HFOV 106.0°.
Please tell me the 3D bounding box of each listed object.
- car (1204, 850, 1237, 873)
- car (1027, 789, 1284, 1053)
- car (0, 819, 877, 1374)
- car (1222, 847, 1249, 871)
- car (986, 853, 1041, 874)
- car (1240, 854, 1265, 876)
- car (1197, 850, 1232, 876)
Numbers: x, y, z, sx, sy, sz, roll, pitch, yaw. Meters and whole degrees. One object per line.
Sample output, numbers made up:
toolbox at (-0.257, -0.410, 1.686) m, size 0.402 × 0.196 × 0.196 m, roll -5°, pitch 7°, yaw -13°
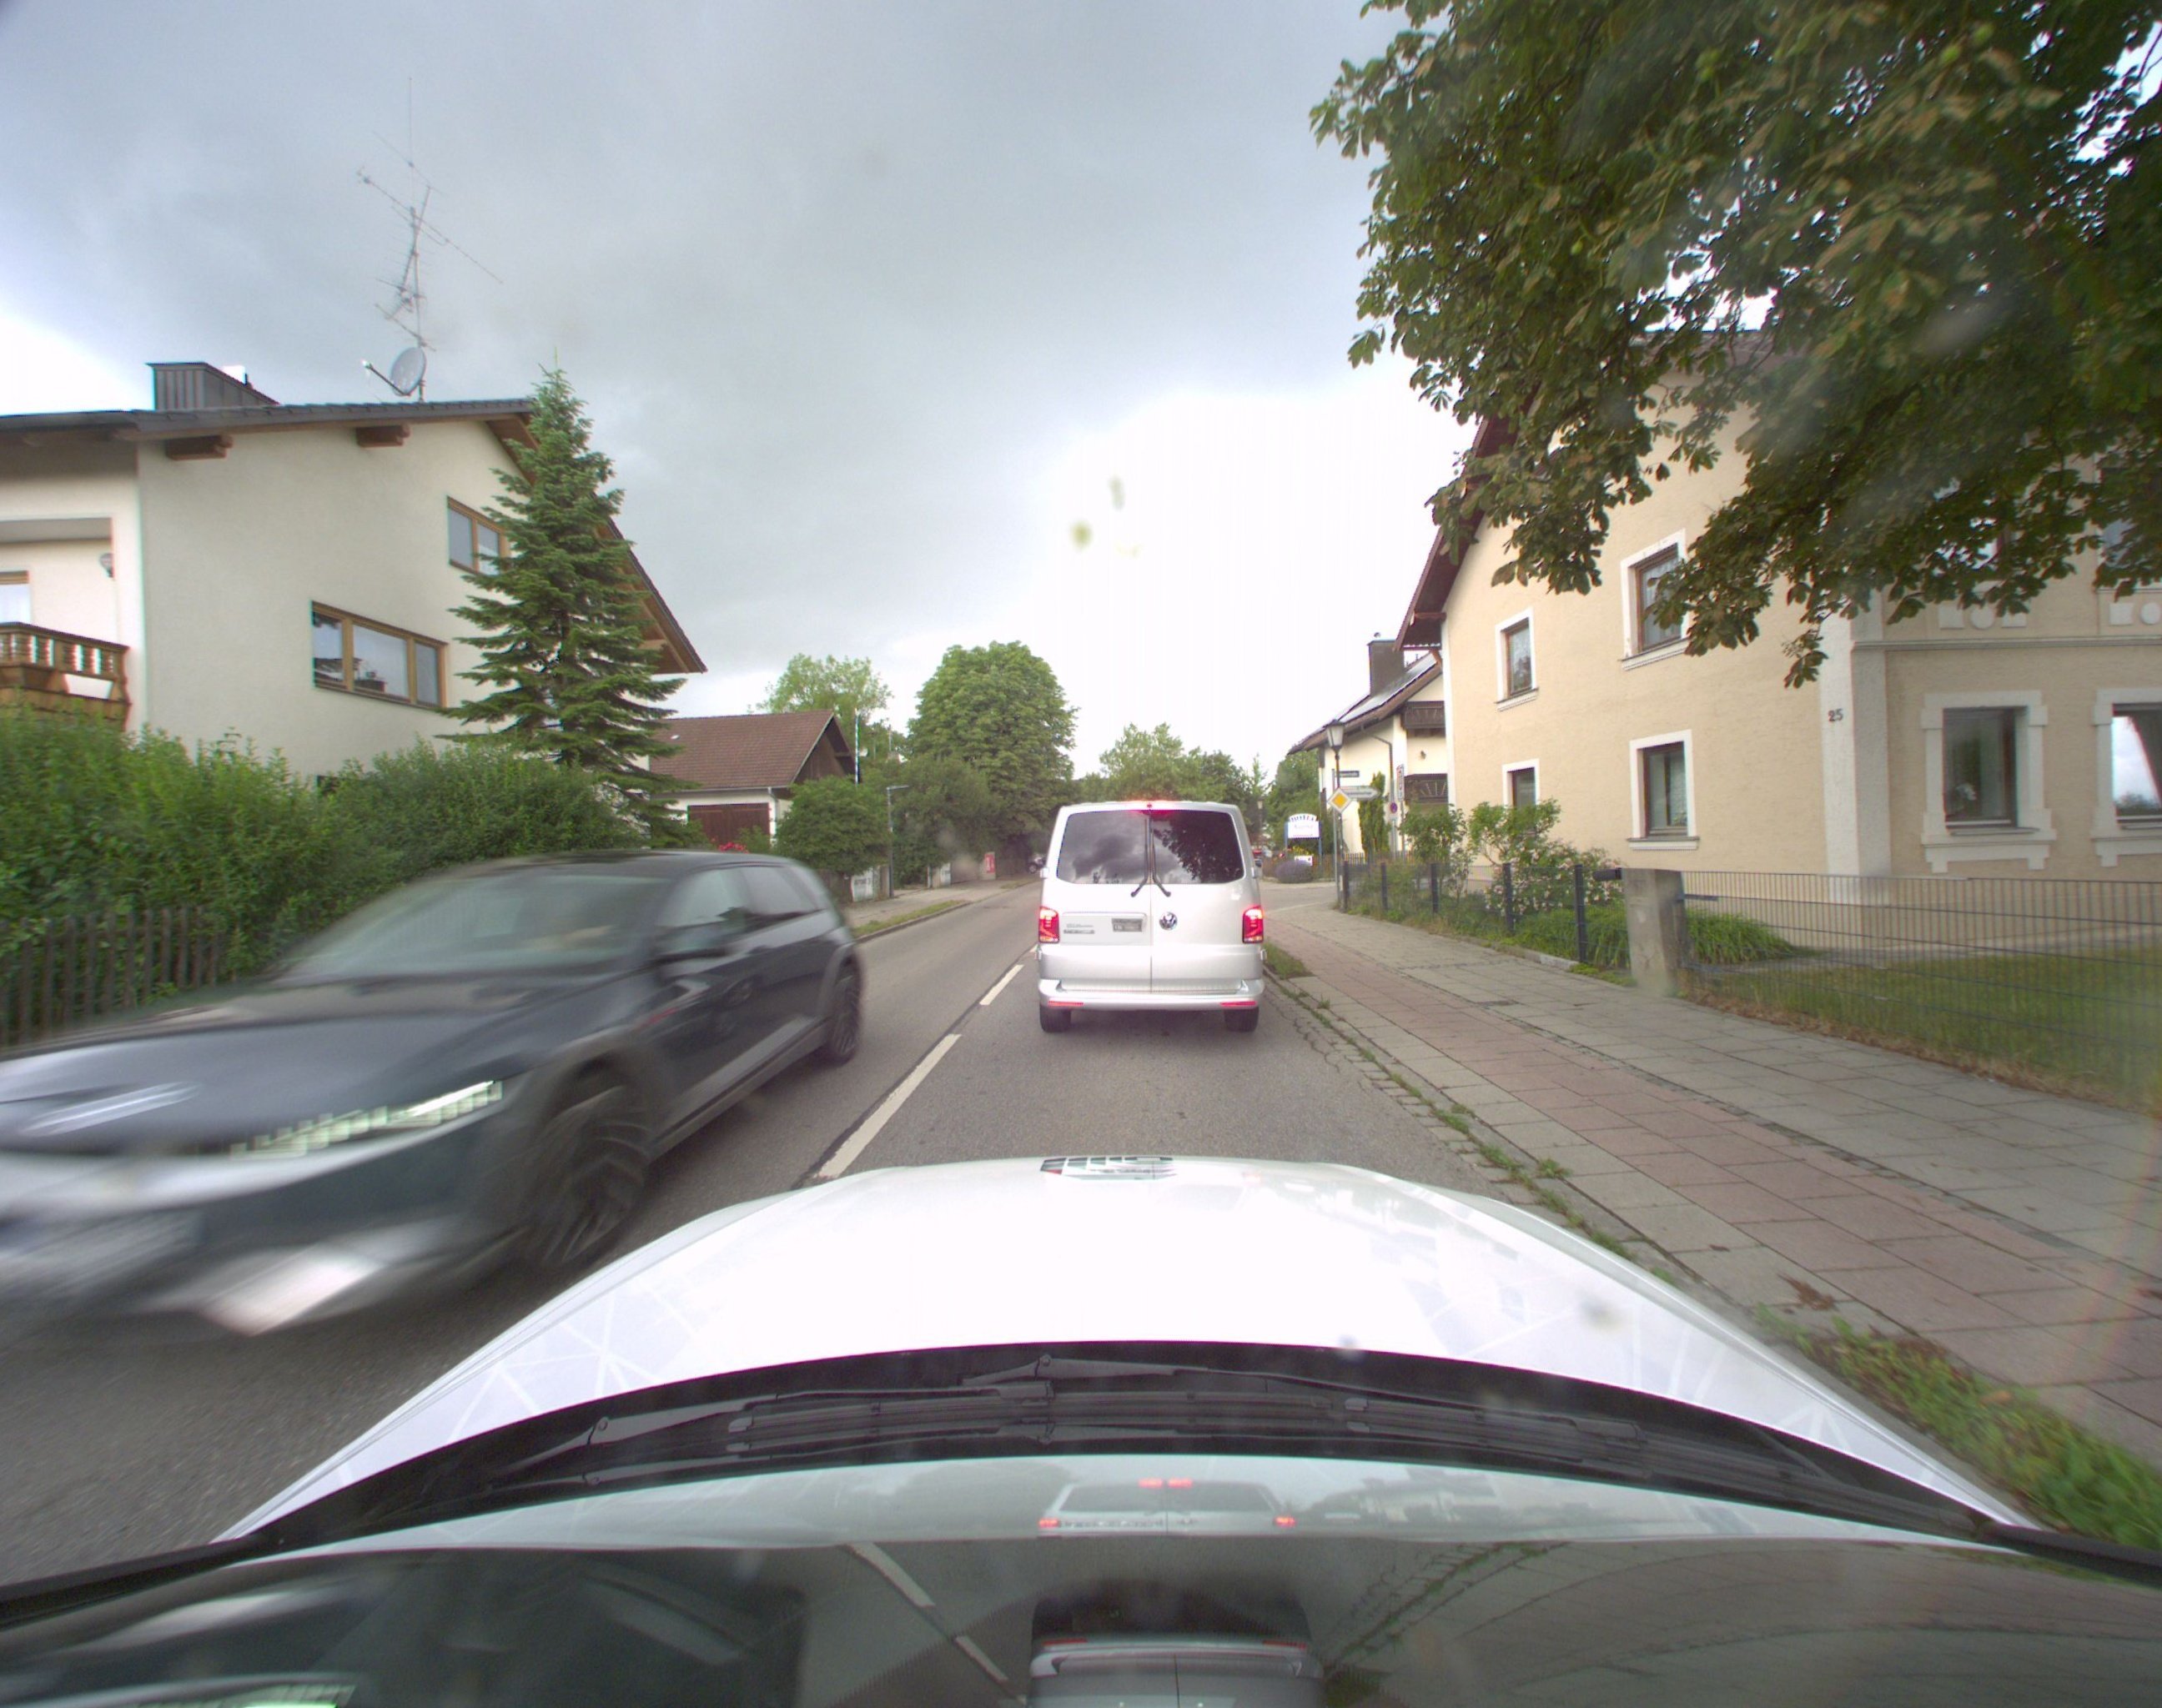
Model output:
car at (10.020, 0.541, 58.141) m, size 1.867 × 1.535 × 3.937 m, roll -2°, pitch 0°, yaw 16°
car at (0.657, 0.508, 8.091) m, size 1.873 × 1.940 × 3.923 m, roll -2°, pitch 0°, yaw 3°
car at (-2.728, 0.709, 4.504) m, size 1.923 × 1.575 × 4.314 m, roll -1°, pitch 0°, yaw 2°
car at (12.441, 0.377, 65.411) m, size 1.867 × 1.748 × 4.097 m, roll -2°, pitch 0°, yaw 15°
car at (-5.004, 0.690, 60.480) m, size 3.982 × 1.486 × 1.996 m, roll -1°, pitch 0°, yaw -6°
car at (15.553, 0.954, 73.575) m, size 1.867 × 1.825 × 3.937 m, roll -2°, pitch 0°, yaw 16°
car at (8.671, 0.545, 52.647) m, size 1.868 × 1.535 × 3.936 m, roll -2°, pitch 0°, yaw 14°
